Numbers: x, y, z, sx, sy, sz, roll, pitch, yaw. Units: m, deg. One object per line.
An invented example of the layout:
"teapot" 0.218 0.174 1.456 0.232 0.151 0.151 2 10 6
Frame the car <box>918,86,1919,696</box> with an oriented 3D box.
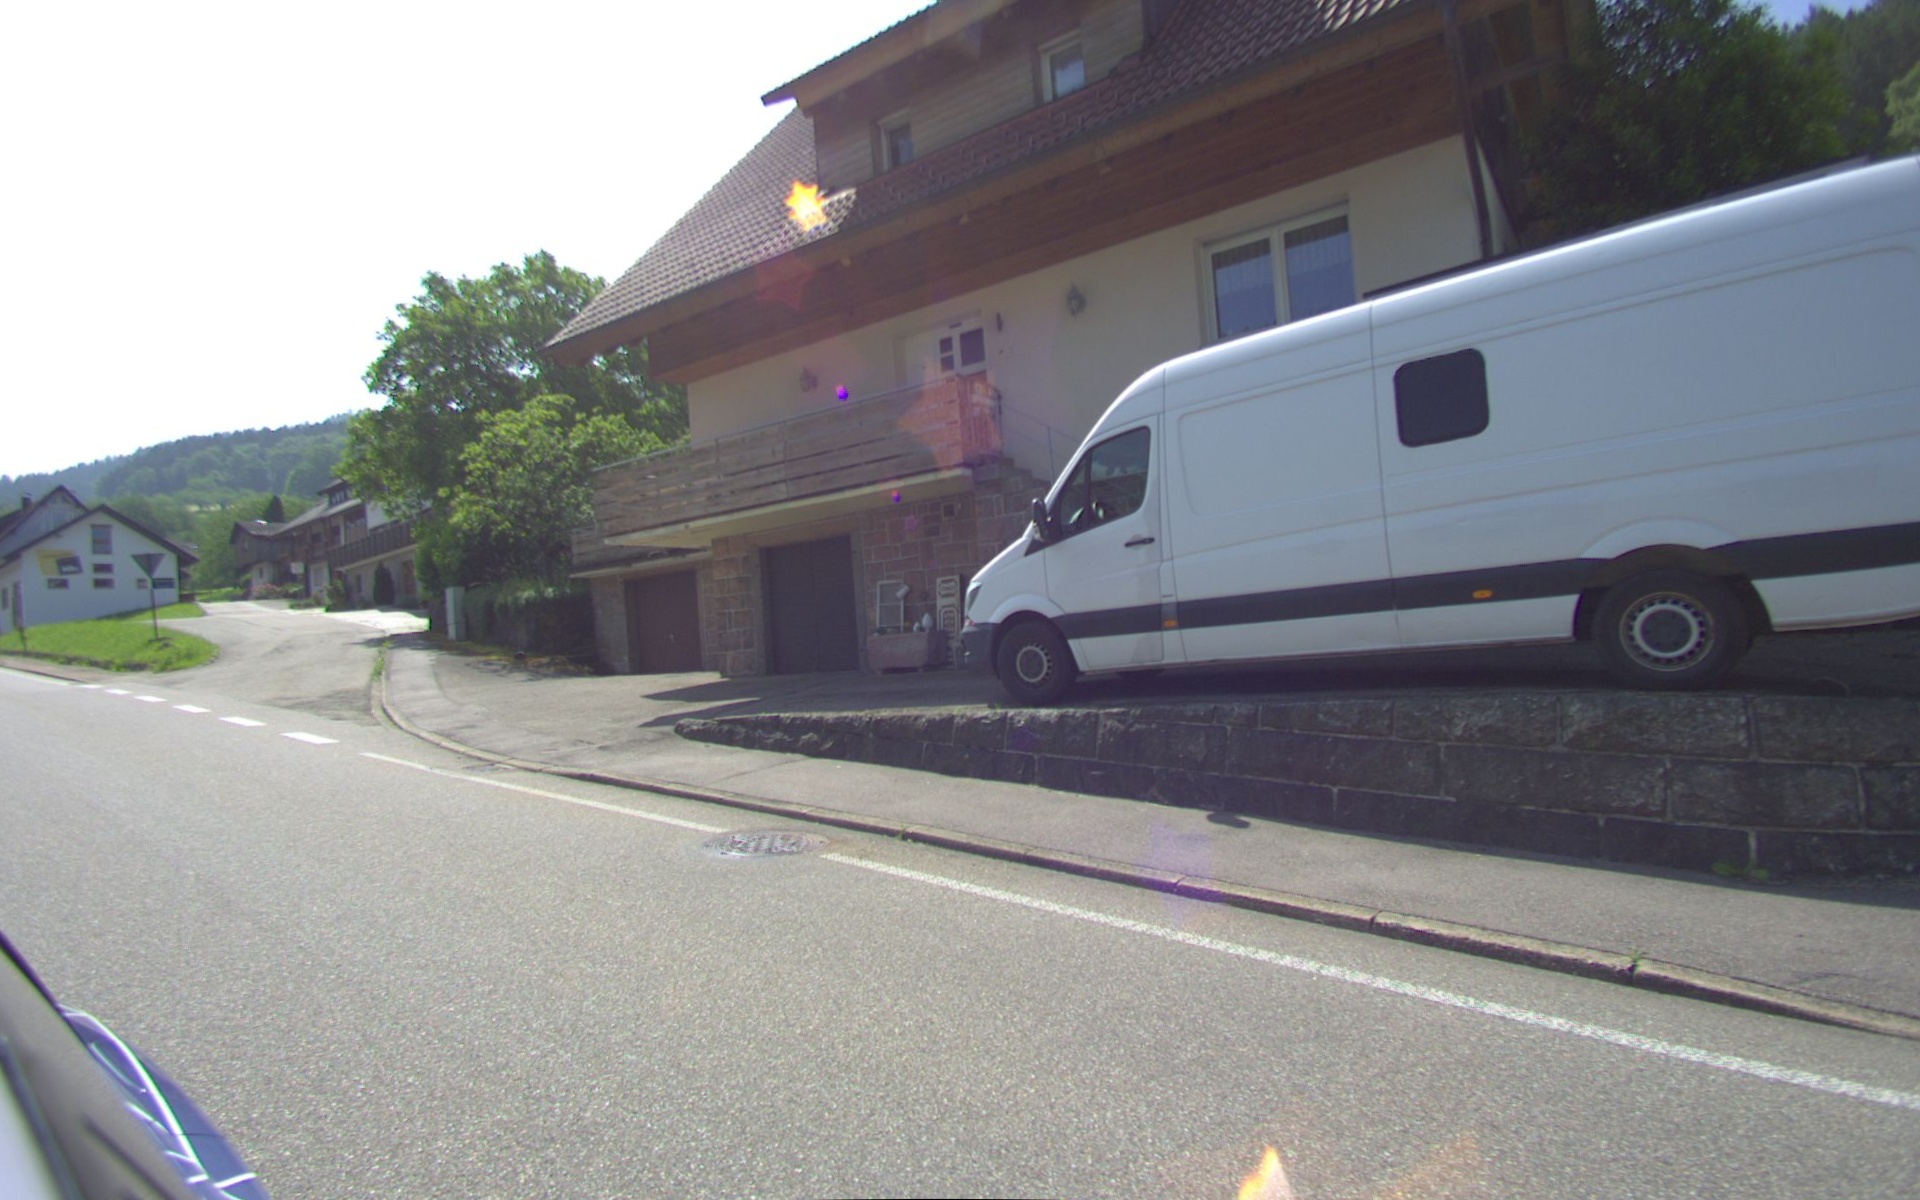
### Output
"car" 3.124 -0.859 7.200 7.168 2.708 2.047 -6 -1 40
